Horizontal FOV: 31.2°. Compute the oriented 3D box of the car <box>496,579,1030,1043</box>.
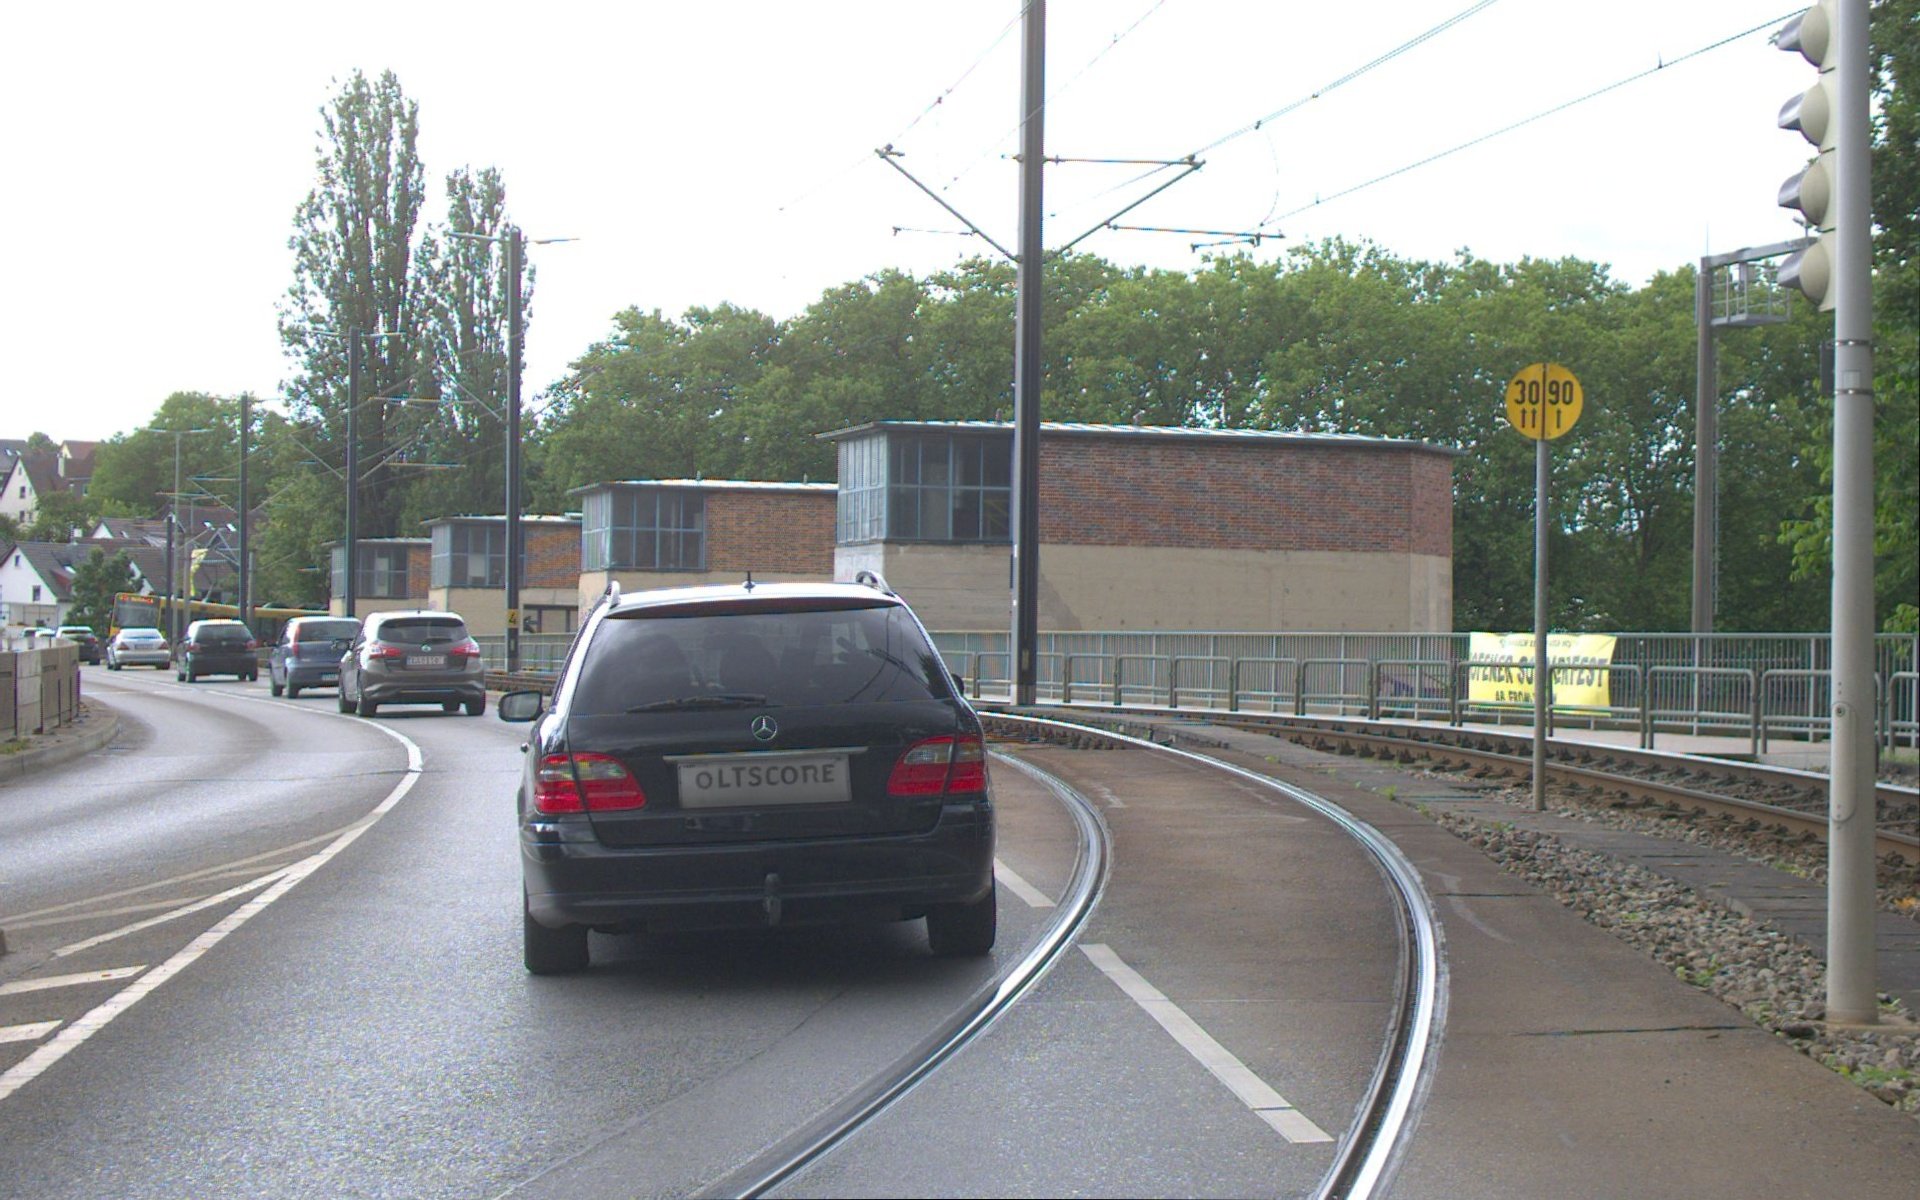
[{"bbox_3d":[-0.730,0.690,13.711,1.759,1.510,4.443,-1,0,-2],"label":"car"}]

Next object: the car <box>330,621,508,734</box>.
[{"bbox_3d":[-7.870,1.096,49.691,1.770,1.550,4.241,0,-1,-20],"label":"car"}]

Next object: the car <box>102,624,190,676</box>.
[{"bbox_3d":[-25.335,1.549,106.915,1.993,1.565,4.906,1,-1,-21],"label":"car"}]

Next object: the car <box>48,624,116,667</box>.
[{"bbox_3d":[-33.119,1.712,129.657,1.993,1.565,4.906,1,-1,-20],"label":"car"}]

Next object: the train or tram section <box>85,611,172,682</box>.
[{"bbox_3d":[-44.169,2.469,182.116,2.881,3.497,18.670,-2,0,-18],"label":"train or tram section"}]

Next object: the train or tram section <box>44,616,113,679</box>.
[{"bbox_3d":[-56.063,3.096,218.211,2.784,3.644,19.896,-2,-1,-18],"label":"train or tram section"}]

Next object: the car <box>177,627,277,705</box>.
[{"bbox_3d":[-17.308,1.531,81.056,1.993,1.667,4.542,-2,1,-15],"label":"car"}]

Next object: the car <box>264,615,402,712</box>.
[{"bbox_3d":[-11.565,1.133,63.167,1.993,1.559,4.999,-3,1,-15],"label":"car"}]
